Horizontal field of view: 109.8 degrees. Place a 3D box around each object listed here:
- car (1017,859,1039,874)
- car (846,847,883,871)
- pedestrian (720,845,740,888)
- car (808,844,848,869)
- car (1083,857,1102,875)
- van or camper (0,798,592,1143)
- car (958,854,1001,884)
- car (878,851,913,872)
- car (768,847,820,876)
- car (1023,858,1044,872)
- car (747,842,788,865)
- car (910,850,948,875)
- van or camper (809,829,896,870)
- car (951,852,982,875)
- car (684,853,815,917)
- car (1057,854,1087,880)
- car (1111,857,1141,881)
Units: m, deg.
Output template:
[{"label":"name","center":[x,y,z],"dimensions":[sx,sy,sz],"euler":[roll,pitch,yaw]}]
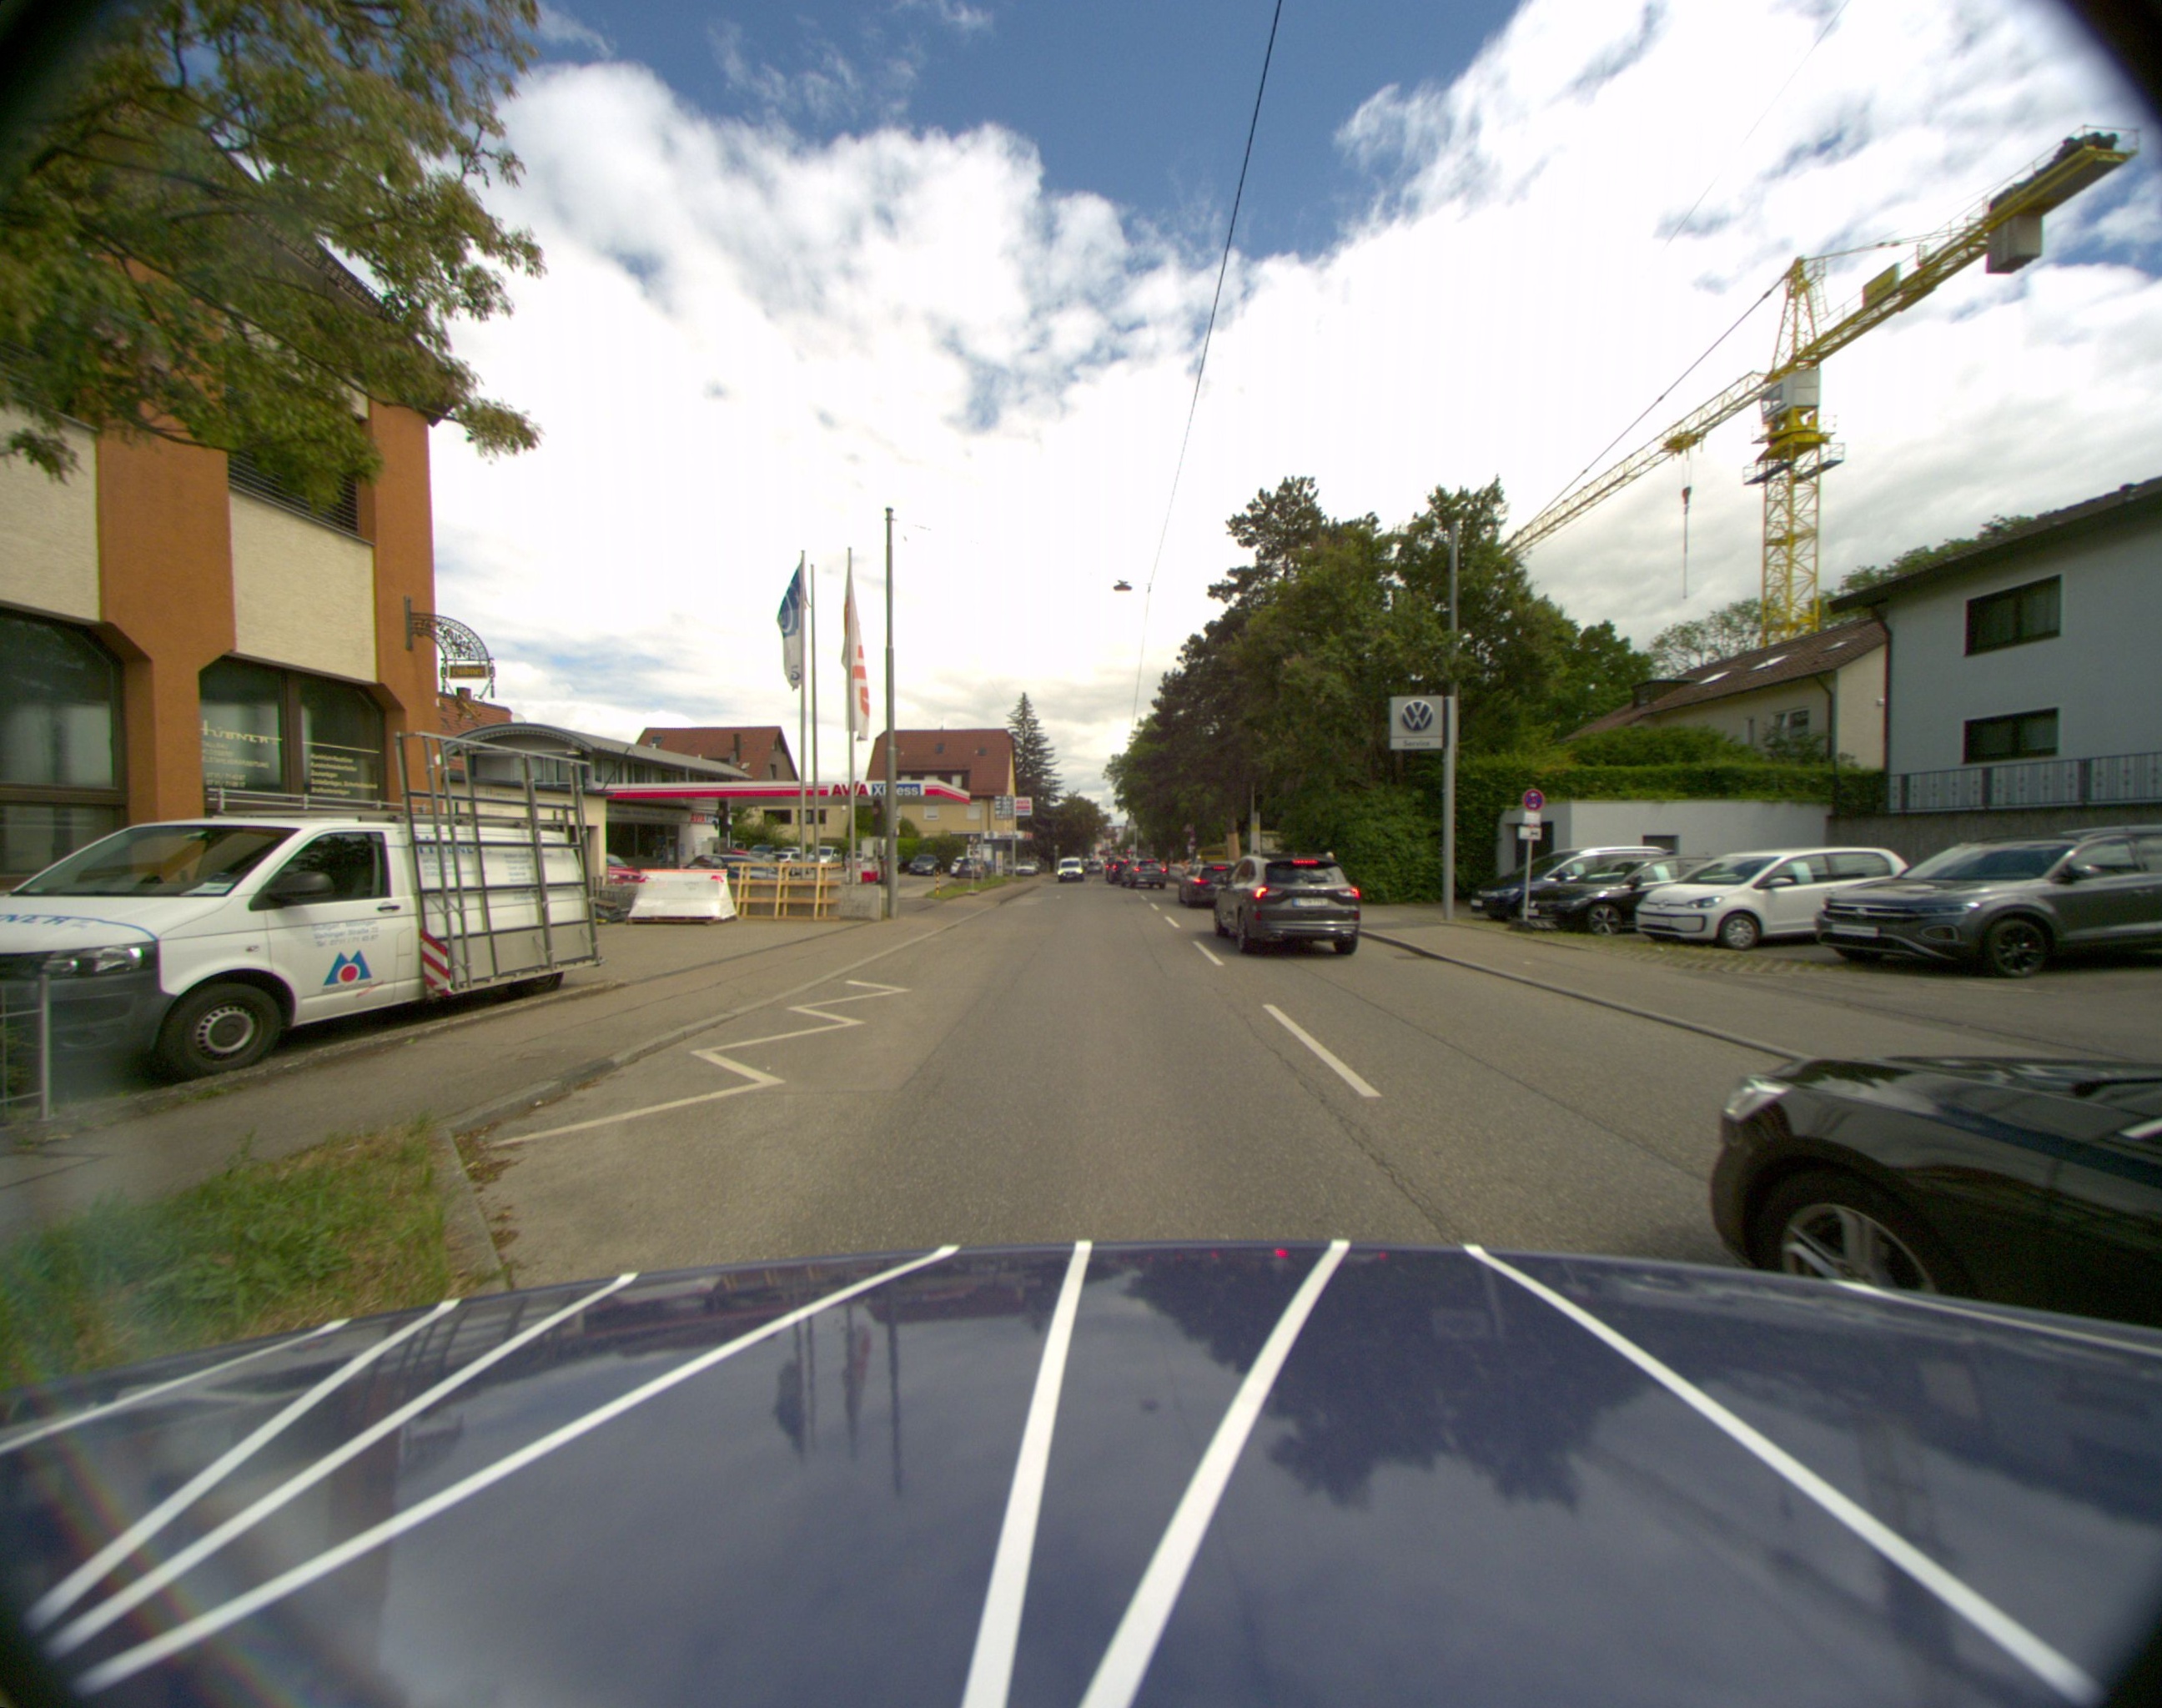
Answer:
[{"label":"car","center":[-4.921,1.149,70.976],"dimensions":[1.789,1.309,4.480],"euler":[0,1,-1]},{"label":"car","center":[-15.901,0.321,55.883],"dimensions":[1.641,1.576,3.746],"euler":[3,1,-1]},{"label":"pedestrian","center":[-15.876,0.571,34.321],"dimensions":[0.585,1.924,0.541],"euler":[-1,2,39]},{"label":"car","center":[-18.471,0.153,55.681],"dimensions":[1.571,1.673,4.047],"euler":[3,1,-1]},{"label":"car","center":[1.273,1.280,83.918],"dimensions":[1.965,1.796,4.223],"euler":[-2,1,2]},{"label":"van or camper","center":[-6.811,0.683,6.740],"dimensions":[1.871,2.020,4.547],"euler":[-2,1,1]},{"label":"car","center":[-6.162,0.880,46.652],"dimensions":[1.618,1.586,4.161],"euler":[5,1,5]},{"label":"car","center":[-13.541,0.516,55.637],"dimensions":[1.640,1.364,3.746],"euler":[3,1,-1]},{"label":"car","center":[-17.791,0.451,47.232],"dimensions":[1.634,1.493,3.746],"euler":[3,3,3]},{"label":"car","center":[-4.708,1.121,76.182],"dimensions":[1.789,1.276,4.316],"euler":[0,1,0]},{"label":"car","center":[-23.150,-0.066,56.281],"dimensions":[1.571,1.560,3.498],"euler":[3,1,-1]},{"label":"car","center":[-10.993,0.583,55.280],"dimensions":[1.716,1.533,4.655],"euler":[3,1,0]},{"label":"van or camper","center":[-17.840,-0.333,59.585],"dimensions":[5.975,2.834,2.531],"euler":[3,0,-2]},{"label":"car","center":[-8.430,0.683,56.262],"dimensions":[1.638,1.520,4.202],"euler":[3,1,-1]},{"label":"car","center":[-9.947,0.870,22.665],"dimensions":[4.306,1.621,1.639],"euler":[2,0,37]},{"label":"car","center":[-0.622,0.935,56.959],"dimensions":[1.965,1.796,4.429],"euler":[-2,1,2]},{"label":"car","center":[2.967,0.970,50.362],"dimensions":[1.870,1.518,4.528],"euler":[0,0,2]}]
